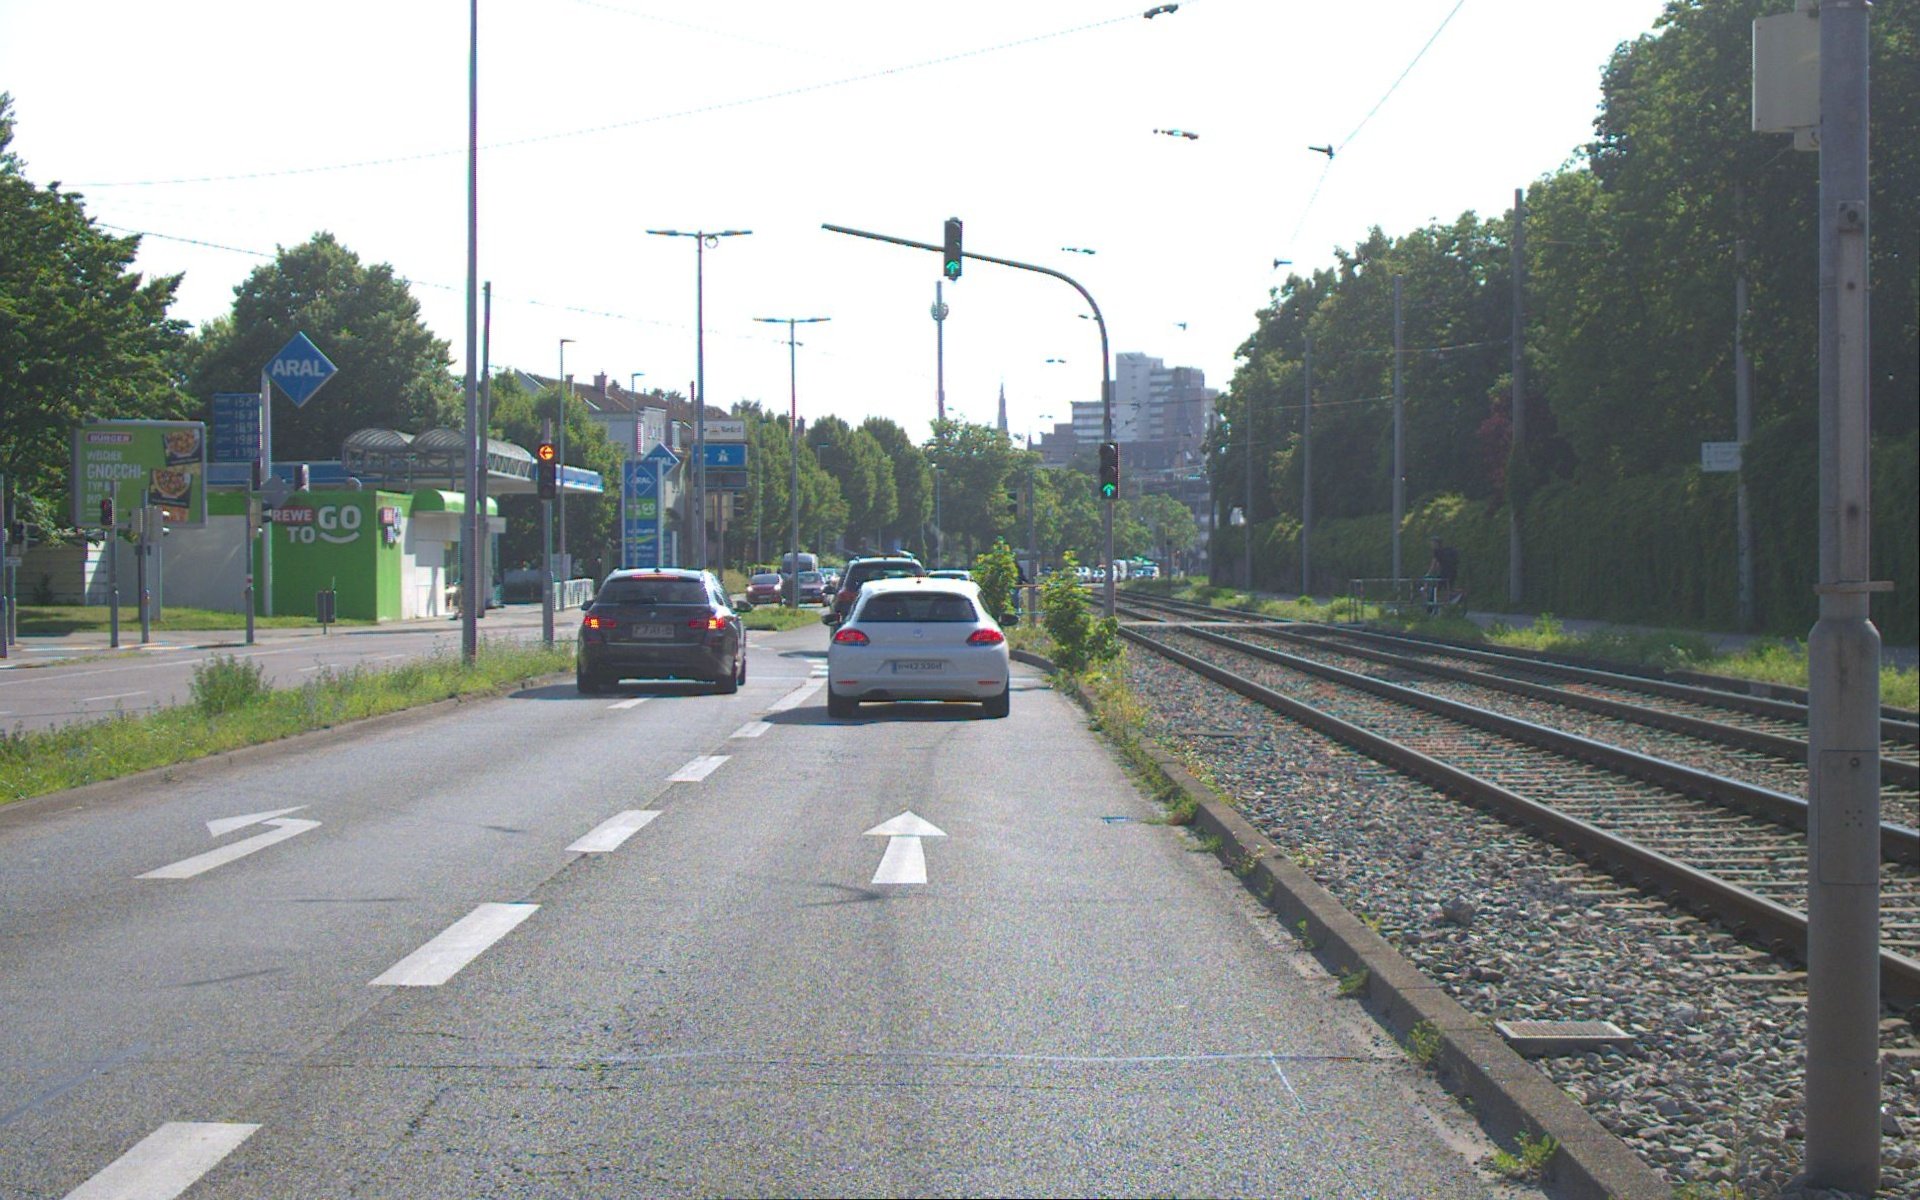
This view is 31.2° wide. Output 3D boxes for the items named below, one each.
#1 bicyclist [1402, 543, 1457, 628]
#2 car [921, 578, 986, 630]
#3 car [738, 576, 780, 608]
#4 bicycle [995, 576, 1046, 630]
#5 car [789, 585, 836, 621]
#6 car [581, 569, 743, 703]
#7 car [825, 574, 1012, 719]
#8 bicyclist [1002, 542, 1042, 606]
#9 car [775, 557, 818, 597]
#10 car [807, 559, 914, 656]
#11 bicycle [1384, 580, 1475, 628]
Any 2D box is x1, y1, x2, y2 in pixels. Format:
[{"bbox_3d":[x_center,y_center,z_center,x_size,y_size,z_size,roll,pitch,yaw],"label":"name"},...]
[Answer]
[{"bbox_3d":[11.037,-0.334,80.779,1.034,1.987,0.946,0,0,25],"label":"bicyclist"},{"bbox_3d":[-0.178,0.109,103.819,1.749,1.480,3.601,1,1,3],"label":"car"},{"bbox_3d":[-8.882,-0.355,152.266,1.574,1.412,3.333,0,0,1],"label":"car"},{"bbox_3d":[1.348,0.058,76.043,0.644,1.150,1.935,0,1,16],"label":"bicycle"},{"bbox_3d":[-5.868,0.105,137.074,1.653,1.390,4.134,0,0,0],"label":"car"},{"bbox_3d":[-3.531,0.389,41.365,1.760,1.480,4.645,1,1,-3],"label":"car"},{"bbox_3d":[-0.406,0.439,35.021,1.781,1.352,3.601,1,1,0],"label":"car"},{"bbox_3d":[1.378,-0.575,76.153,0.643,1.411,1.012,0,1,16],"label":"bicyclist"},{"bbox_3d":[-9.798,-1.406,206.082,1.994,2.368,4.538,-1,1,4],"label":"car"},{"bbox_3d":[-1.751,0.107,59.736,1.724,1.587,3.601,1,1,-3],"label":"car"},{"bbox_3d":[11.041,0.094,80.785,1.923,1.111,0.946,0,0,25],"label":"bicycle"}]
